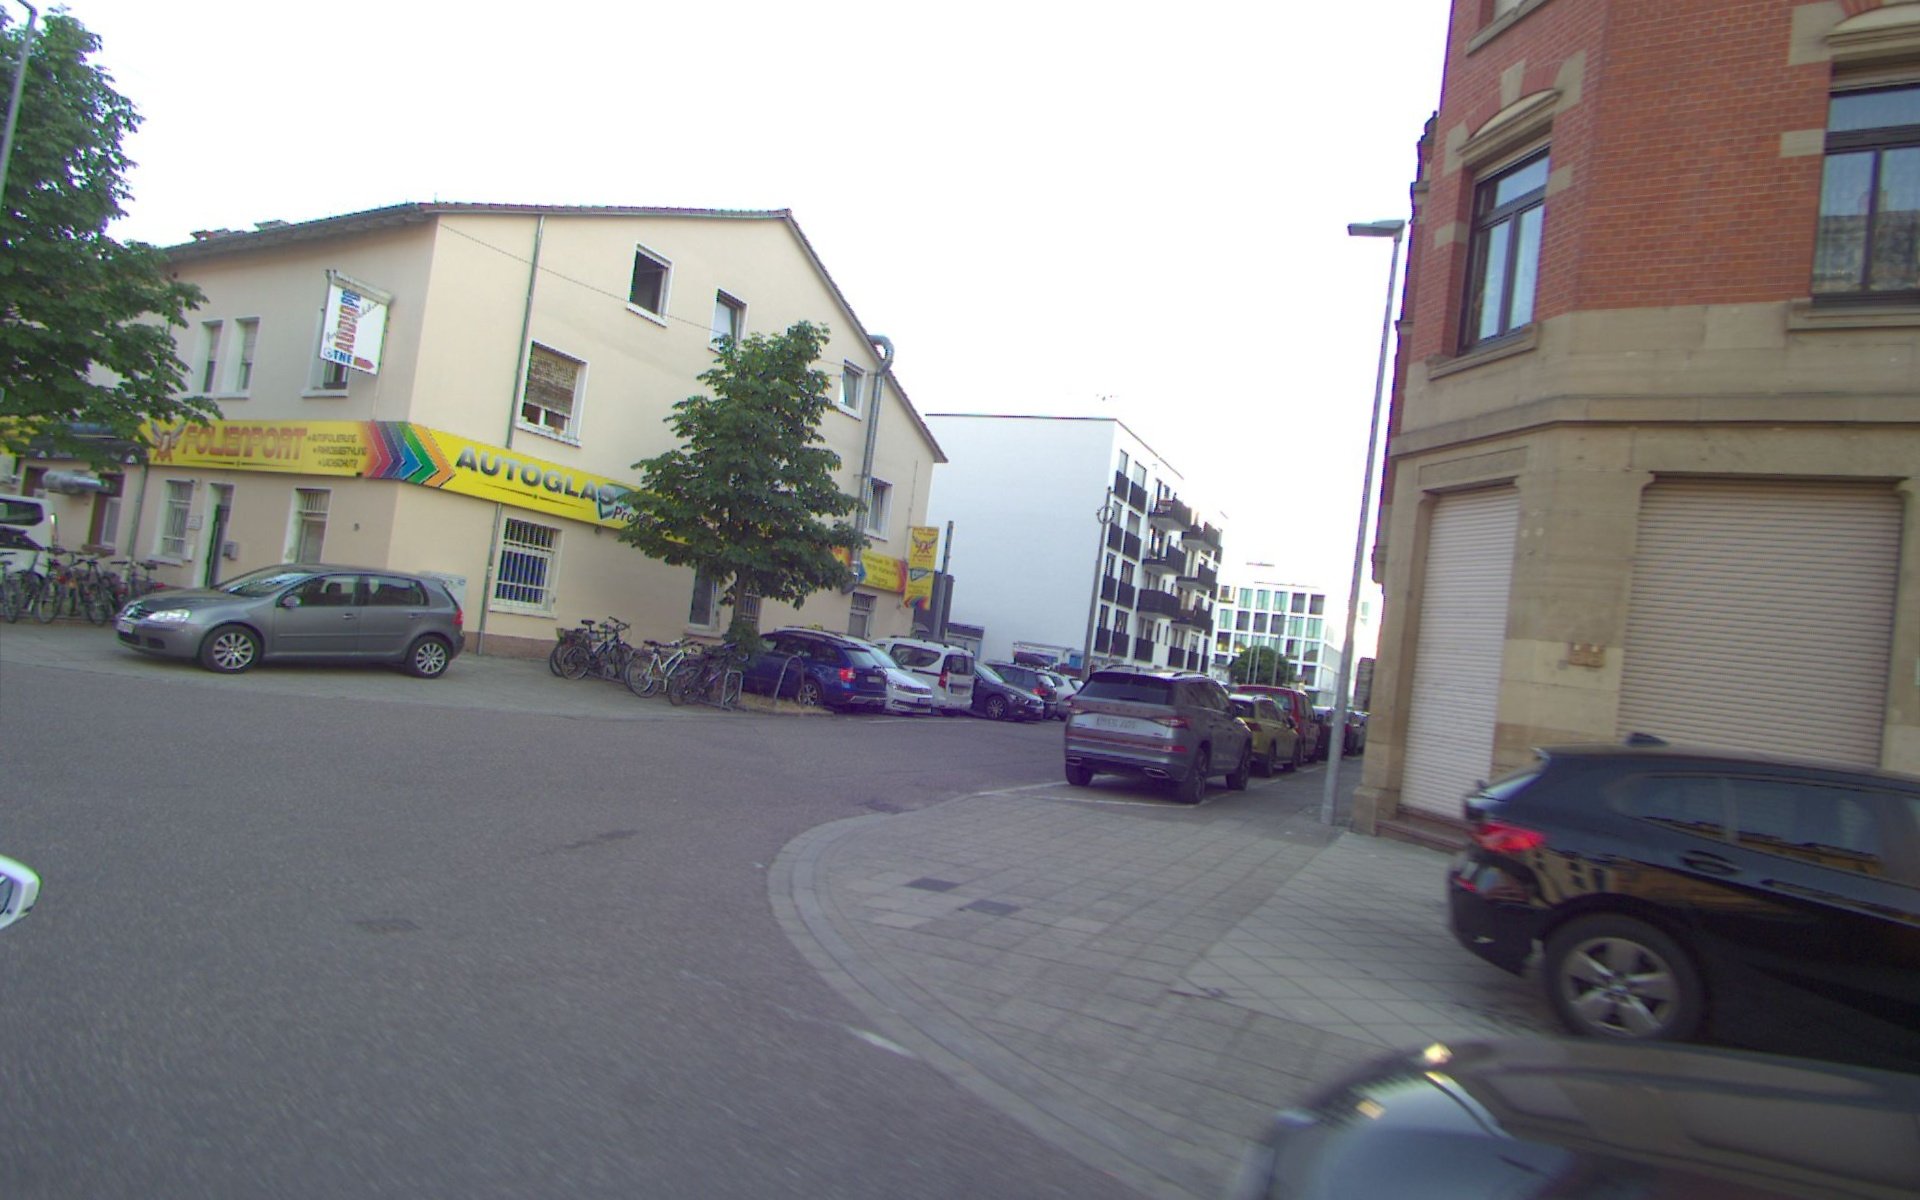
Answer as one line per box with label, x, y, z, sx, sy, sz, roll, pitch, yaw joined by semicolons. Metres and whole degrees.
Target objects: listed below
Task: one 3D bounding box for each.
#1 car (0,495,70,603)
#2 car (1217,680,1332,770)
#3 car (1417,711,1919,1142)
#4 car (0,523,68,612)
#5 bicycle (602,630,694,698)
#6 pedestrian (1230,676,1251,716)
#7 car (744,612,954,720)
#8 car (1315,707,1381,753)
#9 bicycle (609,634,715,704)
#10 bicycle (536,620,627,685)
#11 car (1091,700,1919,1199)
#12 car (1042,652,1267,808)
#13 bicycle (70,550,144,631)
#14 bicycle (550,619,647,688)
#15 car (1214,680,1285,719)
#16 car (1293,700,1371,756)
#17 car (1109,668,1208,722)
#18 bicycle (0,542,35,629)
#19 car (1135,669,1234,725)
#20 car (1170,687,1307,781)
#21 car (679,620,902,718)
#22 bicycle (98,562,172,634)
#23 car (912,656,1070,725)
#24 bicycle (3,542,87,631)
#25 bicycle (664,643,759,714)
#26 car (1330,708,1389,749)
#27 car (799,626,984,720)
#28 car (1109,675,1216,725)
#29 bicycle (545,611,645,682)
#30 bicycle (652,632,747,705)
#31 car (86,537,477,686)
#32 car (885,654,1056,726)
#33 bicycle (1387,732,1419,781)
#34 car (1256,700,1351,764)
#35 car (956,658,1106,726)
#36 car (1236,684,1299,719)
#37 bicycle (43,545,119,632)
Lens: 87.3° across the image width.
car;-20.241;-1.230;18.702;2.182;2.007;4.999;6;-1;30
car;7.853;3.056;24.829;1.846;1.813;4.332;4;-4;28
car;4.601;1.545;4.602;4.348;1.441;1.730;6;-2;29
car;-18.054;-0.744;17.081;1.737;1.469;3.928;6;-1;28
bicycle;-5.577;1.174;18.052;0.338;1.052;1.607;9;-3;31
pedestrian;13.169;4.500;47.195;0.645;1.733;0.741;6;-4;28
car;-2.645;1.539;23.744;4.499;1.852;1.878;7;-2;29
car;15.289;5.064;39.505;1.846;1.484;4.332;4;-4;28
bicycle;-5.197;1.236;17.682;0.421;1.021;1.855;9;-3;31
bicycle;-6.989;0.988;18.663;0.338;1.030;1.608;9;-3;29
car;2.356;1.138;0.921;4.181;1.439;1.727;6;-4;30
car;2.941;1.801;14.324;1.846;1.690;4.332;4;-4;28
bicycle;-13.767;-0.155;16.219;1.456;1.156;0.353;6;-1;31
bicycle;-6.643;1.011;18.577;0.338;1.081;1.737;9;-3;29
car;19.947;6.839;69.404;4.259;2.192;1.878;4;-3;29
car;12.907;4.390;34.703;1.846;1.614;4.577;4;-4;28
car;9.781;4.686;49.694;4.262;2.192;1.876;4;-3;32
bicycle;-14.413;-0.258;15.013;1.456;1.214;0.386;6;-1;31
car;12.122;5.231;54.370;4.741;2.512;1.878;4;-3;29
car;5.652;2.623;20.031;1.640;1.493;4.332;4;-4;28
car;-3.691;1.480;21.757;4.494;1.526;1.746;6;-3;28
bicycle;-13.613;-0.045;16.592;1.456;1.029;0.388;6;-1;31
car;0.917;2.702;30.156;4.259;1.554;1.878;4;-4;29
bicycle;-14.099;-0.210;15.498;1.456;1.214;0.445;6;-1;31
bicycle;-4.227;1.371;17.243;0.420;1.086;1.858;9;-3;22
car;17.678;5.660;44.401;1.846;1.484;4.332;4;-4;28
car;-1.769;1.867;25.880;4.259;1.923;1.878;4;-3;29
car;9.209;4.537;45.739;4.259;1.801;1.961;4;-3;29
bicycle;-7.060;0.920;19.553;0.338;1.161;1.866;9;-3;31
bicycle;-4.527;1.232;17.632;0.420;1.140;1.927;7;-3;22
car;-9.194;0.253;14.010;1.727;1.532;4.058;8;-1;31
car;0.272;2.445;27.530;4.259;1.461;1.792;4;-4;29
bicycle;12.625;4.445;28.653;0.675;1.278;1.851;1;-7;28
car;9.985;3.768;29.002;1.846;1.484;4.332;4;-4;28
car;2.261;2.928;32.181;4.258;1.658;1.944;4;-4;28
car;24.219;7.981;79.290;4.259;2.299;1.878;4;-3;29
bicycle;-13.875;-0.193;15.866;1.456;1.214;0.353;6;-1;31
